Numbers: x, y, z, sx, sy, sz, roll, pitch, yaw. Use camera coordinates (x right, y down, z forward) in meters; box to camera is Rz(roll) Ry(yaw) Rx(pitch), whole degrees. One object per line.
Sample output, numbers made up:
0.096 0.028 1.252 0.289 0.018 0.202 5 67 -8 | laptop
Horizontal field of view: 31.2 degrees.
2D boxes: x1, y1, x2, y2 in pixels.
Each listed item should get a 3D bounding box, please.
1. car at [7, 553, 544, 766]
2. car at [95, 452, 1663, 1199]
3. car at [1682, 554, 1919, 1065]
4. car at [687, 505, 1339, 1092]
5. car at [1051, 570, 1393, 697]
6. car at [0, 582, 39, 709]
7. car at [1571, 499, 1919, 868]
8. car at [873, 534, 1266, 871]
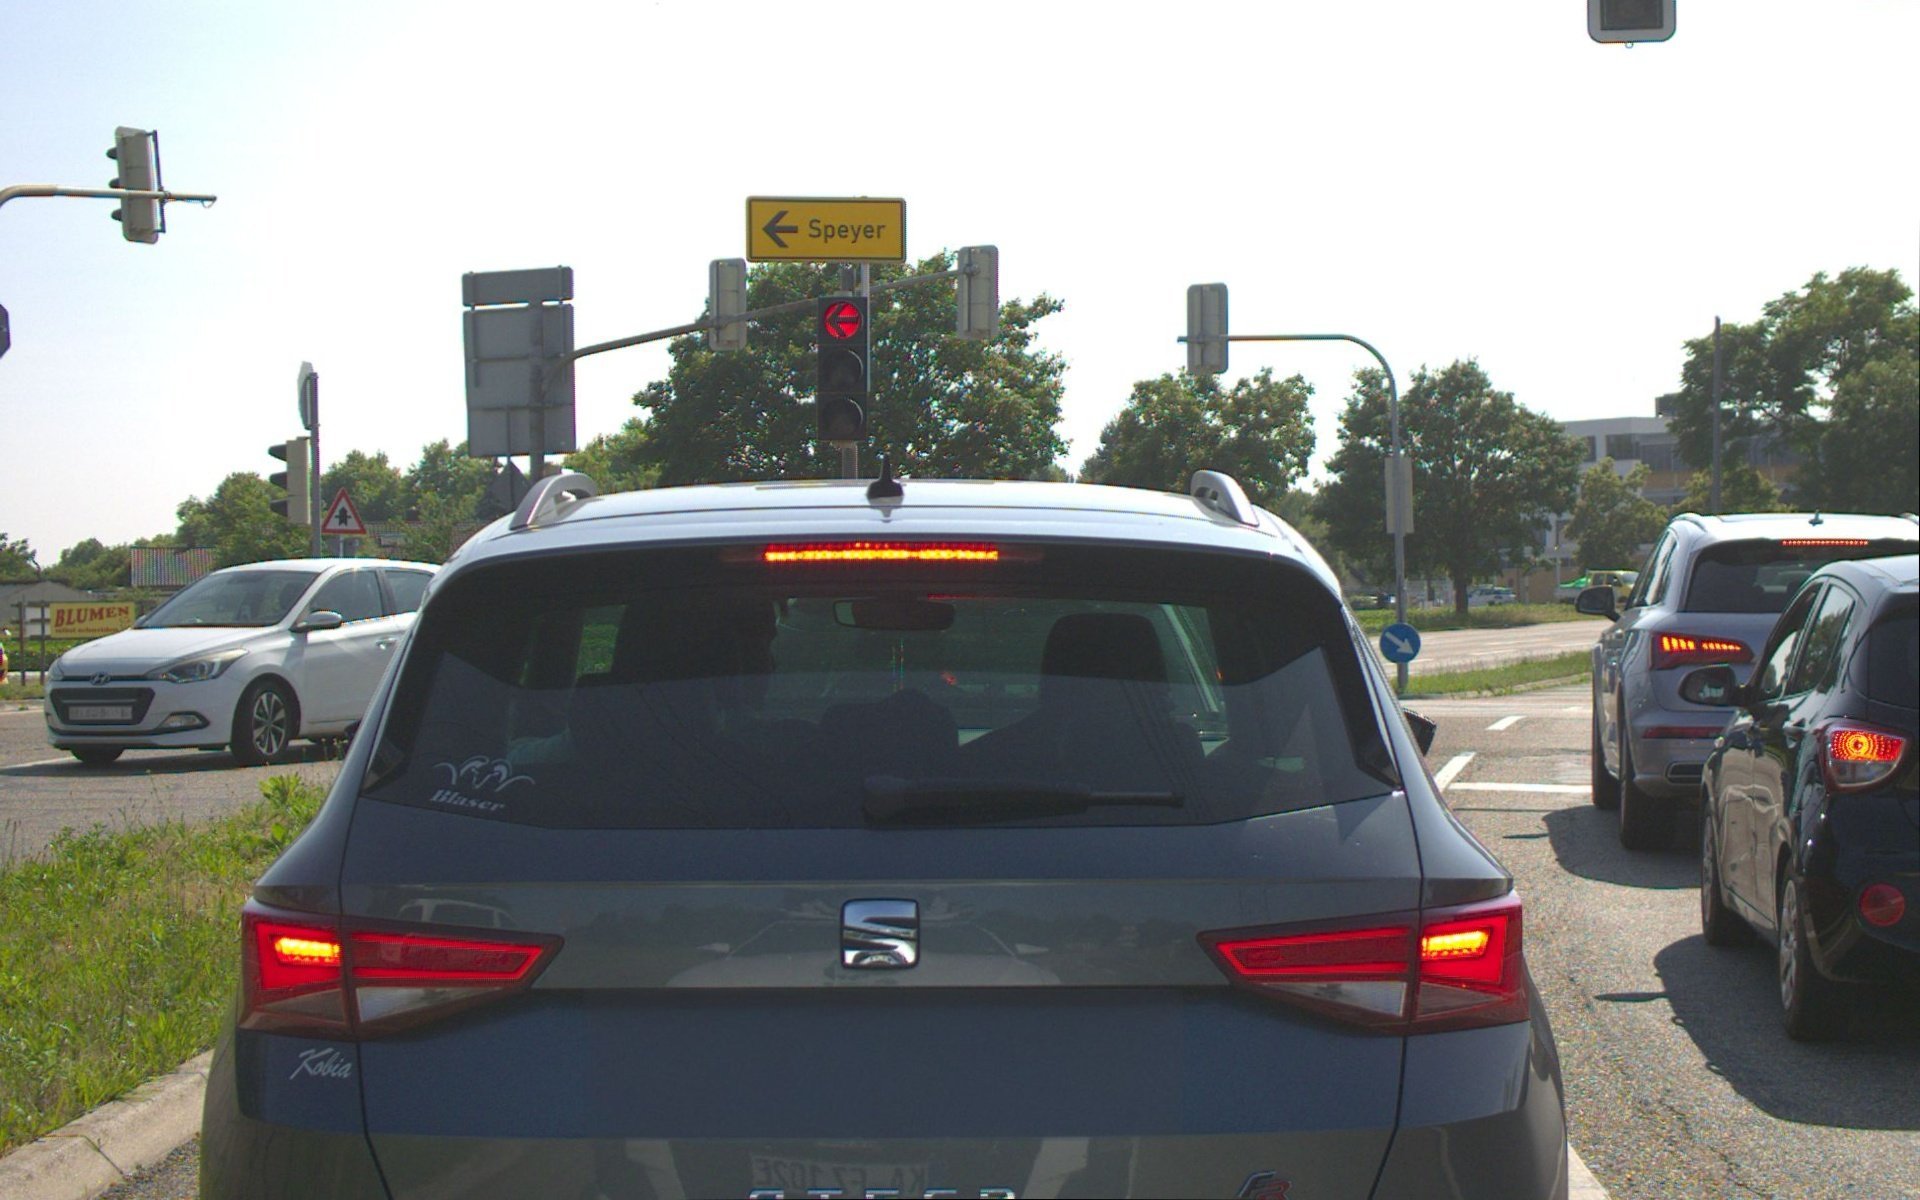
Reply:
-5.014 0.385 25.656 1.721 1.460 3.905 0 1 32 | car
-0.117 0.616 5.666 1.742 1.563 3.624 1 0 -1 | car
3.384 0.580 11.341 1.633 1.443 3.294 1 1 6 | car
0.154 0.524 11.151 1.742 1.563 3.624 1 0 0 | car
3.271 0.411 42.903 3.872 1.514 1.805 0 1 24 | car
-14.374 0.606 45.563 3.993 1.645 1.817 0 0 28 | car
4.085 0.361 17.568 1.633 1.671 3.749 1 1 6 | car
0.638 0.447 17.273 1.742 1.479 3.623 1 0 5 | car
